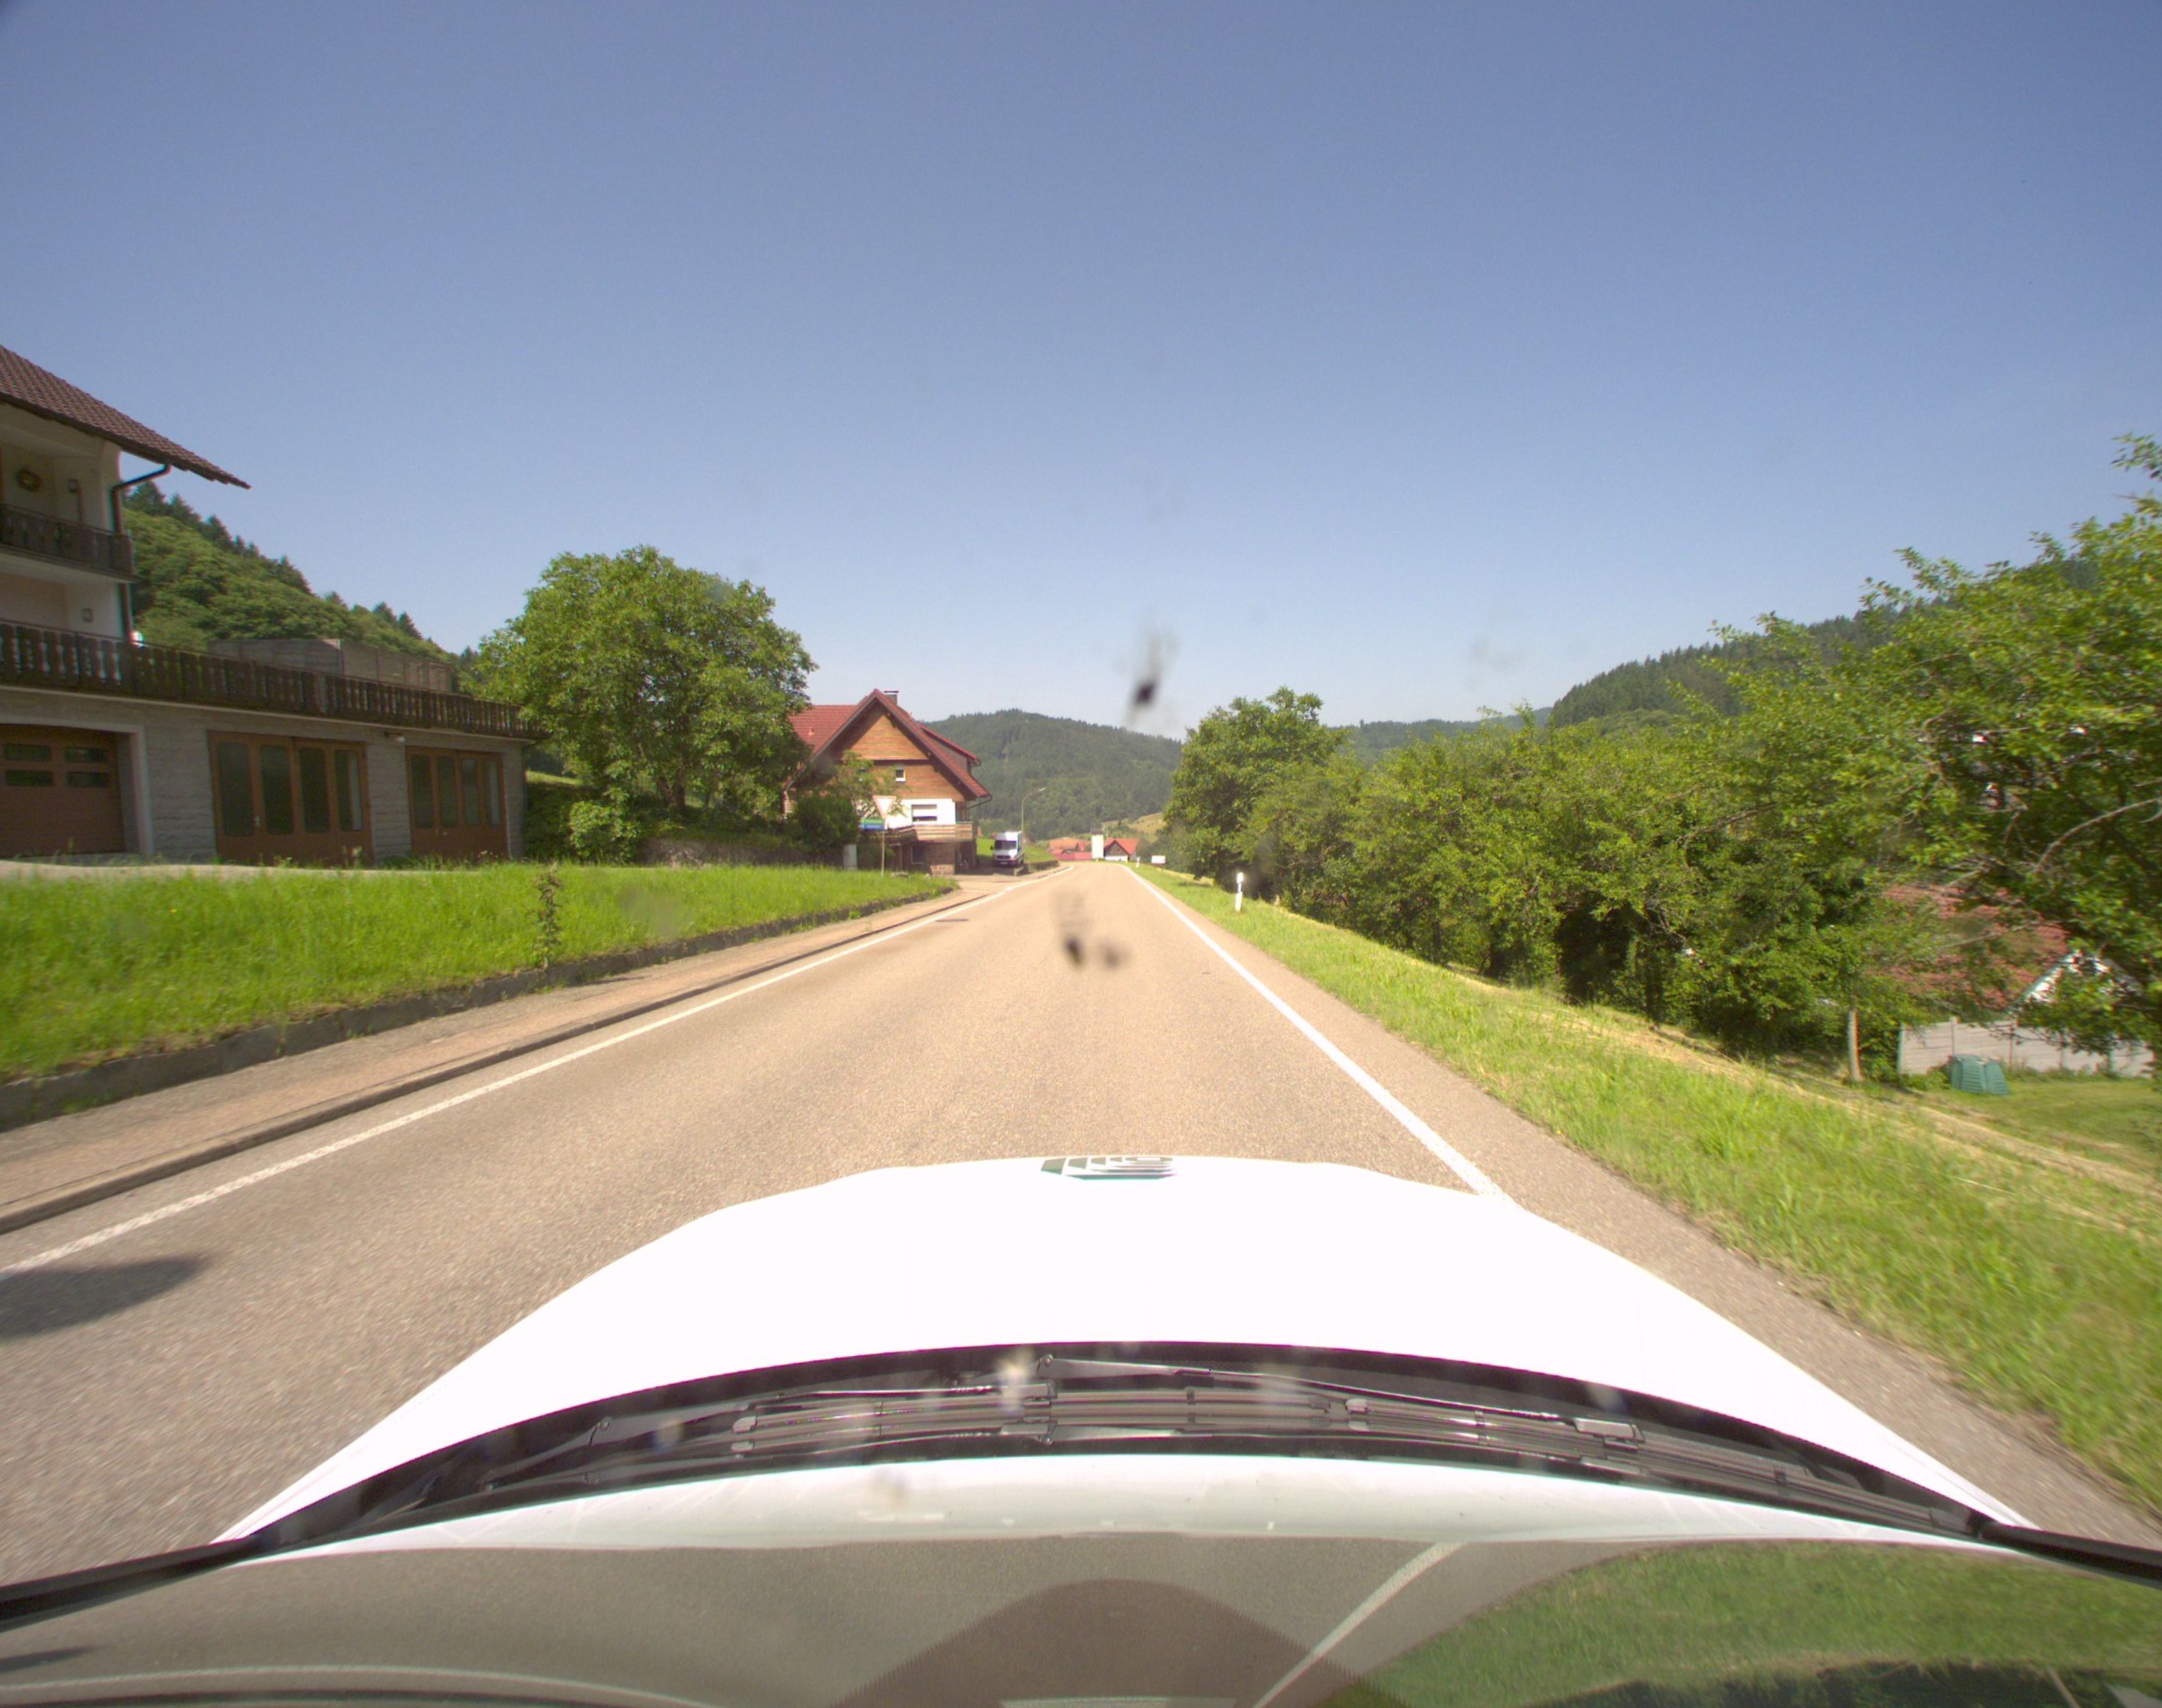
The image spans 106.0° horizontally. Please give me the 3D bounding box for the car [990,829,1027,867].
[{"bbox_3d":[-5.641,-0.557,63.953,2.060,2.688,7.177,-1,3,1],"label":"car"}]
